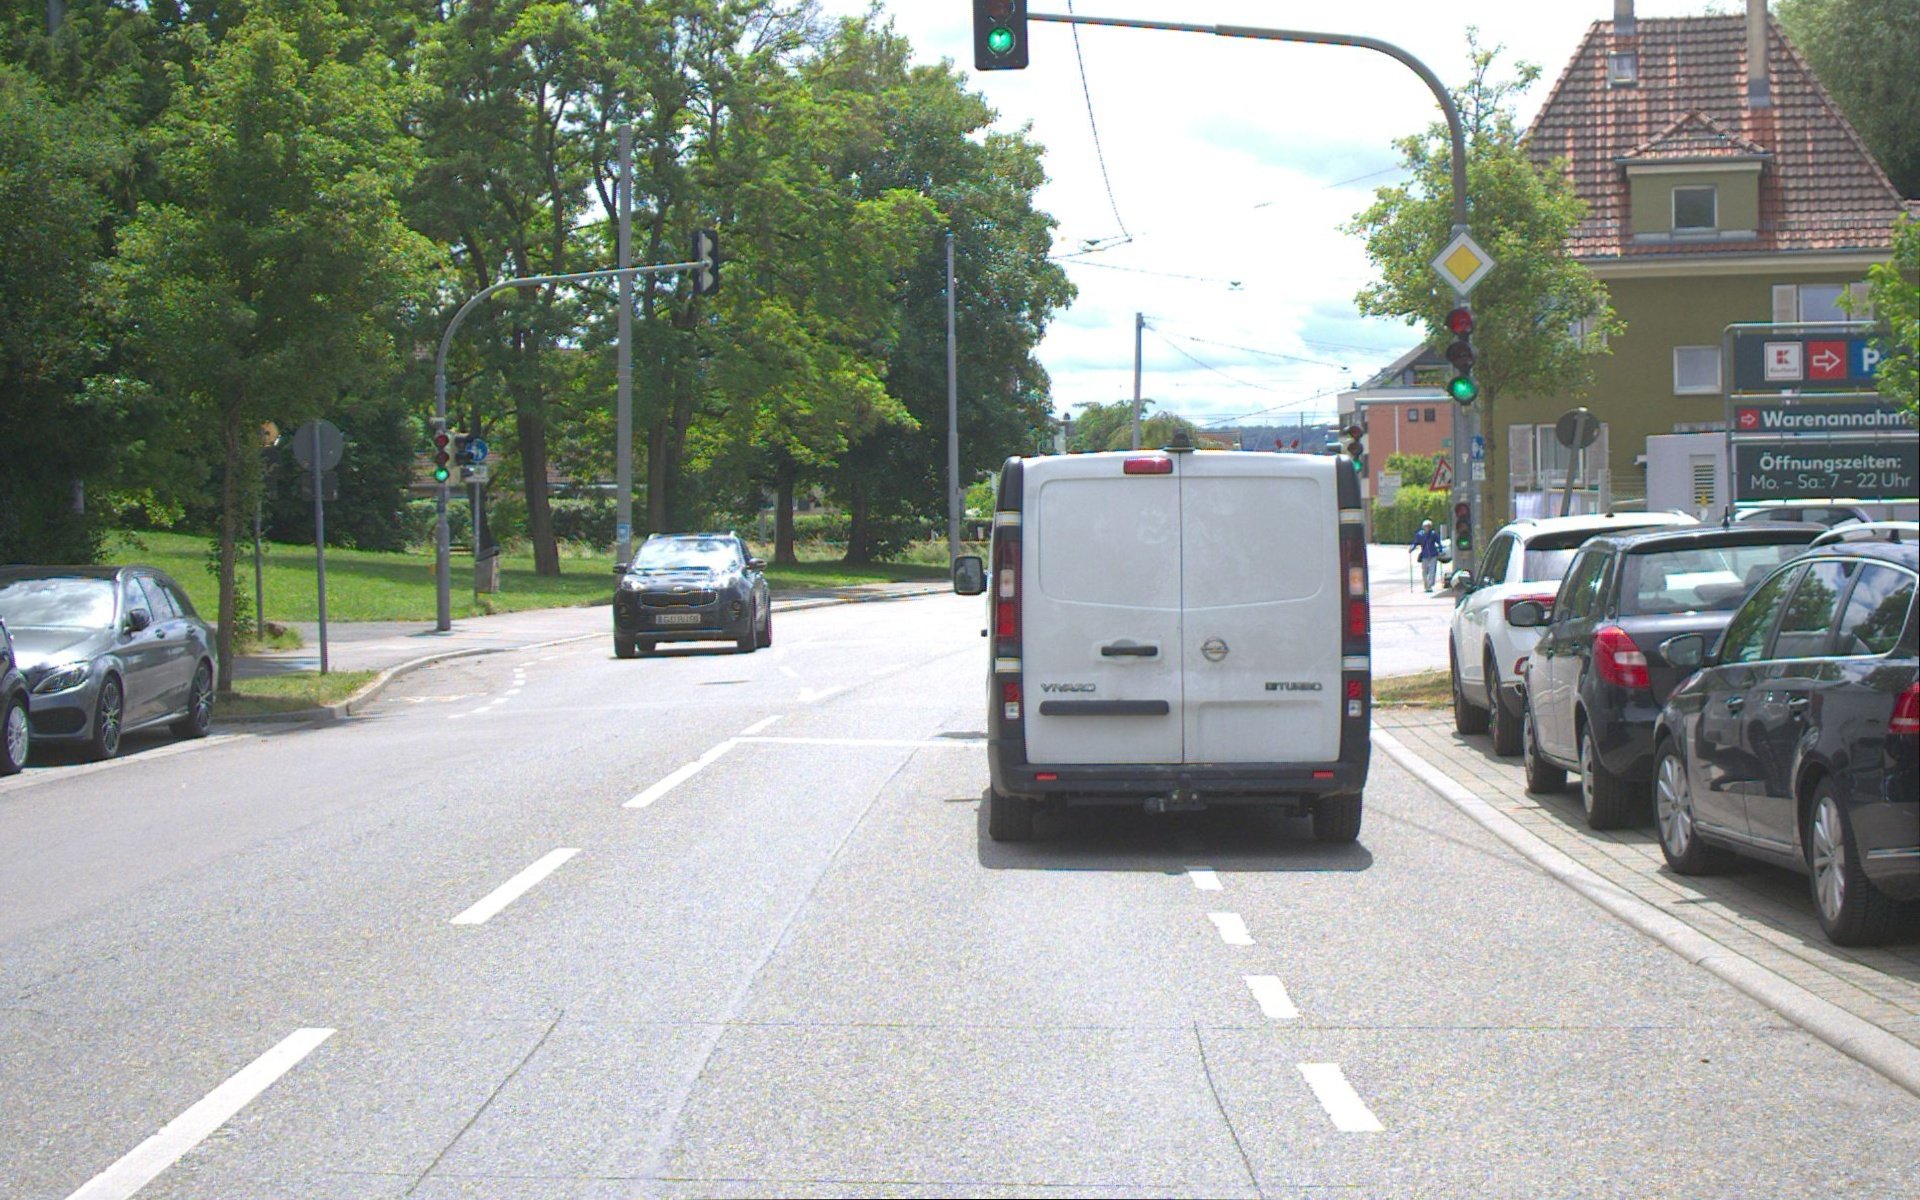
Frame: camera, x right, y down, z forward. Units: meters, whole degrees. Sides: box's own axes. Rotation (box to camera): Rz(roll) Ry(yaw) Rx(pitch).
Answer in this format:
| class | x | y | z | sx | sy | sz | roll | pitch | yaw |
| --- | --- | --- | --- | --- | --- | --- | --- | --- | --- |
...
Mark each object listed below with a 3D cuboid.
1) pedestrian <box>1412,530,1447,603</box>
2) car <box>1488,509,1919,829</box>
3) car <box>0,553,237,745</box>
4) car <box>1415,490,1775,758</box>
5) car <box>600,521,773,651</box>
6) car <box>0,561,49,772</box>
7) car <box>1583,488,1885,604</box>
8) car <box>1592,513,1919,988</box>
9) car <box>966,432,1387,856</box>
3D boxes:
| class | x | y | z | sx | sy | sz | roll | pitch | yaw |
| --- | --- | --- | --- | --- | --- | --- | --- | --- | --- |
| pedestrian | 10.196 | -0.726 | 74.734 | 0.678 | 1.548 | 0.835 | -3 | -1 | 8 |
| car | 3.902 | 0.299 | 18.521 | 1.568 | 1.488 | 4.000 | -2 | 1 | 2 |
| car | -7.136 | 0.324 | 27.360 | 1.695 | 1.361 | 4.686 | 1 | 1 | 1 |
| car | 4.342 | 0.121 | 24.131 | 1.737 | 1.611 | 4.386 | -3 | 1 | 2 |
| car | -3.656 | -0.229 | 46.635 | 1.833 | 1.611 | 4.152 | -2 | 1 | 2 |
| car | -7.452 | 0.473 | 23.063 | 1.595 | 1.445 | 3.596 | 0 | 1 | 3 |
| car | 10.899 | -0.774 | 48.631 | 3.988 | 1.601 | 1.608 | 0 | 2 | 5 |
| car | 3.884 | 0.414 | 13.493 | 1.764 | 1.472 | 4.936 | -4 | 1 | -1 |
| car | 1.051 | 0.159 | 18.518 | 1.939 | 1.954 | 4.833 | 1 | 1 | 1 |
